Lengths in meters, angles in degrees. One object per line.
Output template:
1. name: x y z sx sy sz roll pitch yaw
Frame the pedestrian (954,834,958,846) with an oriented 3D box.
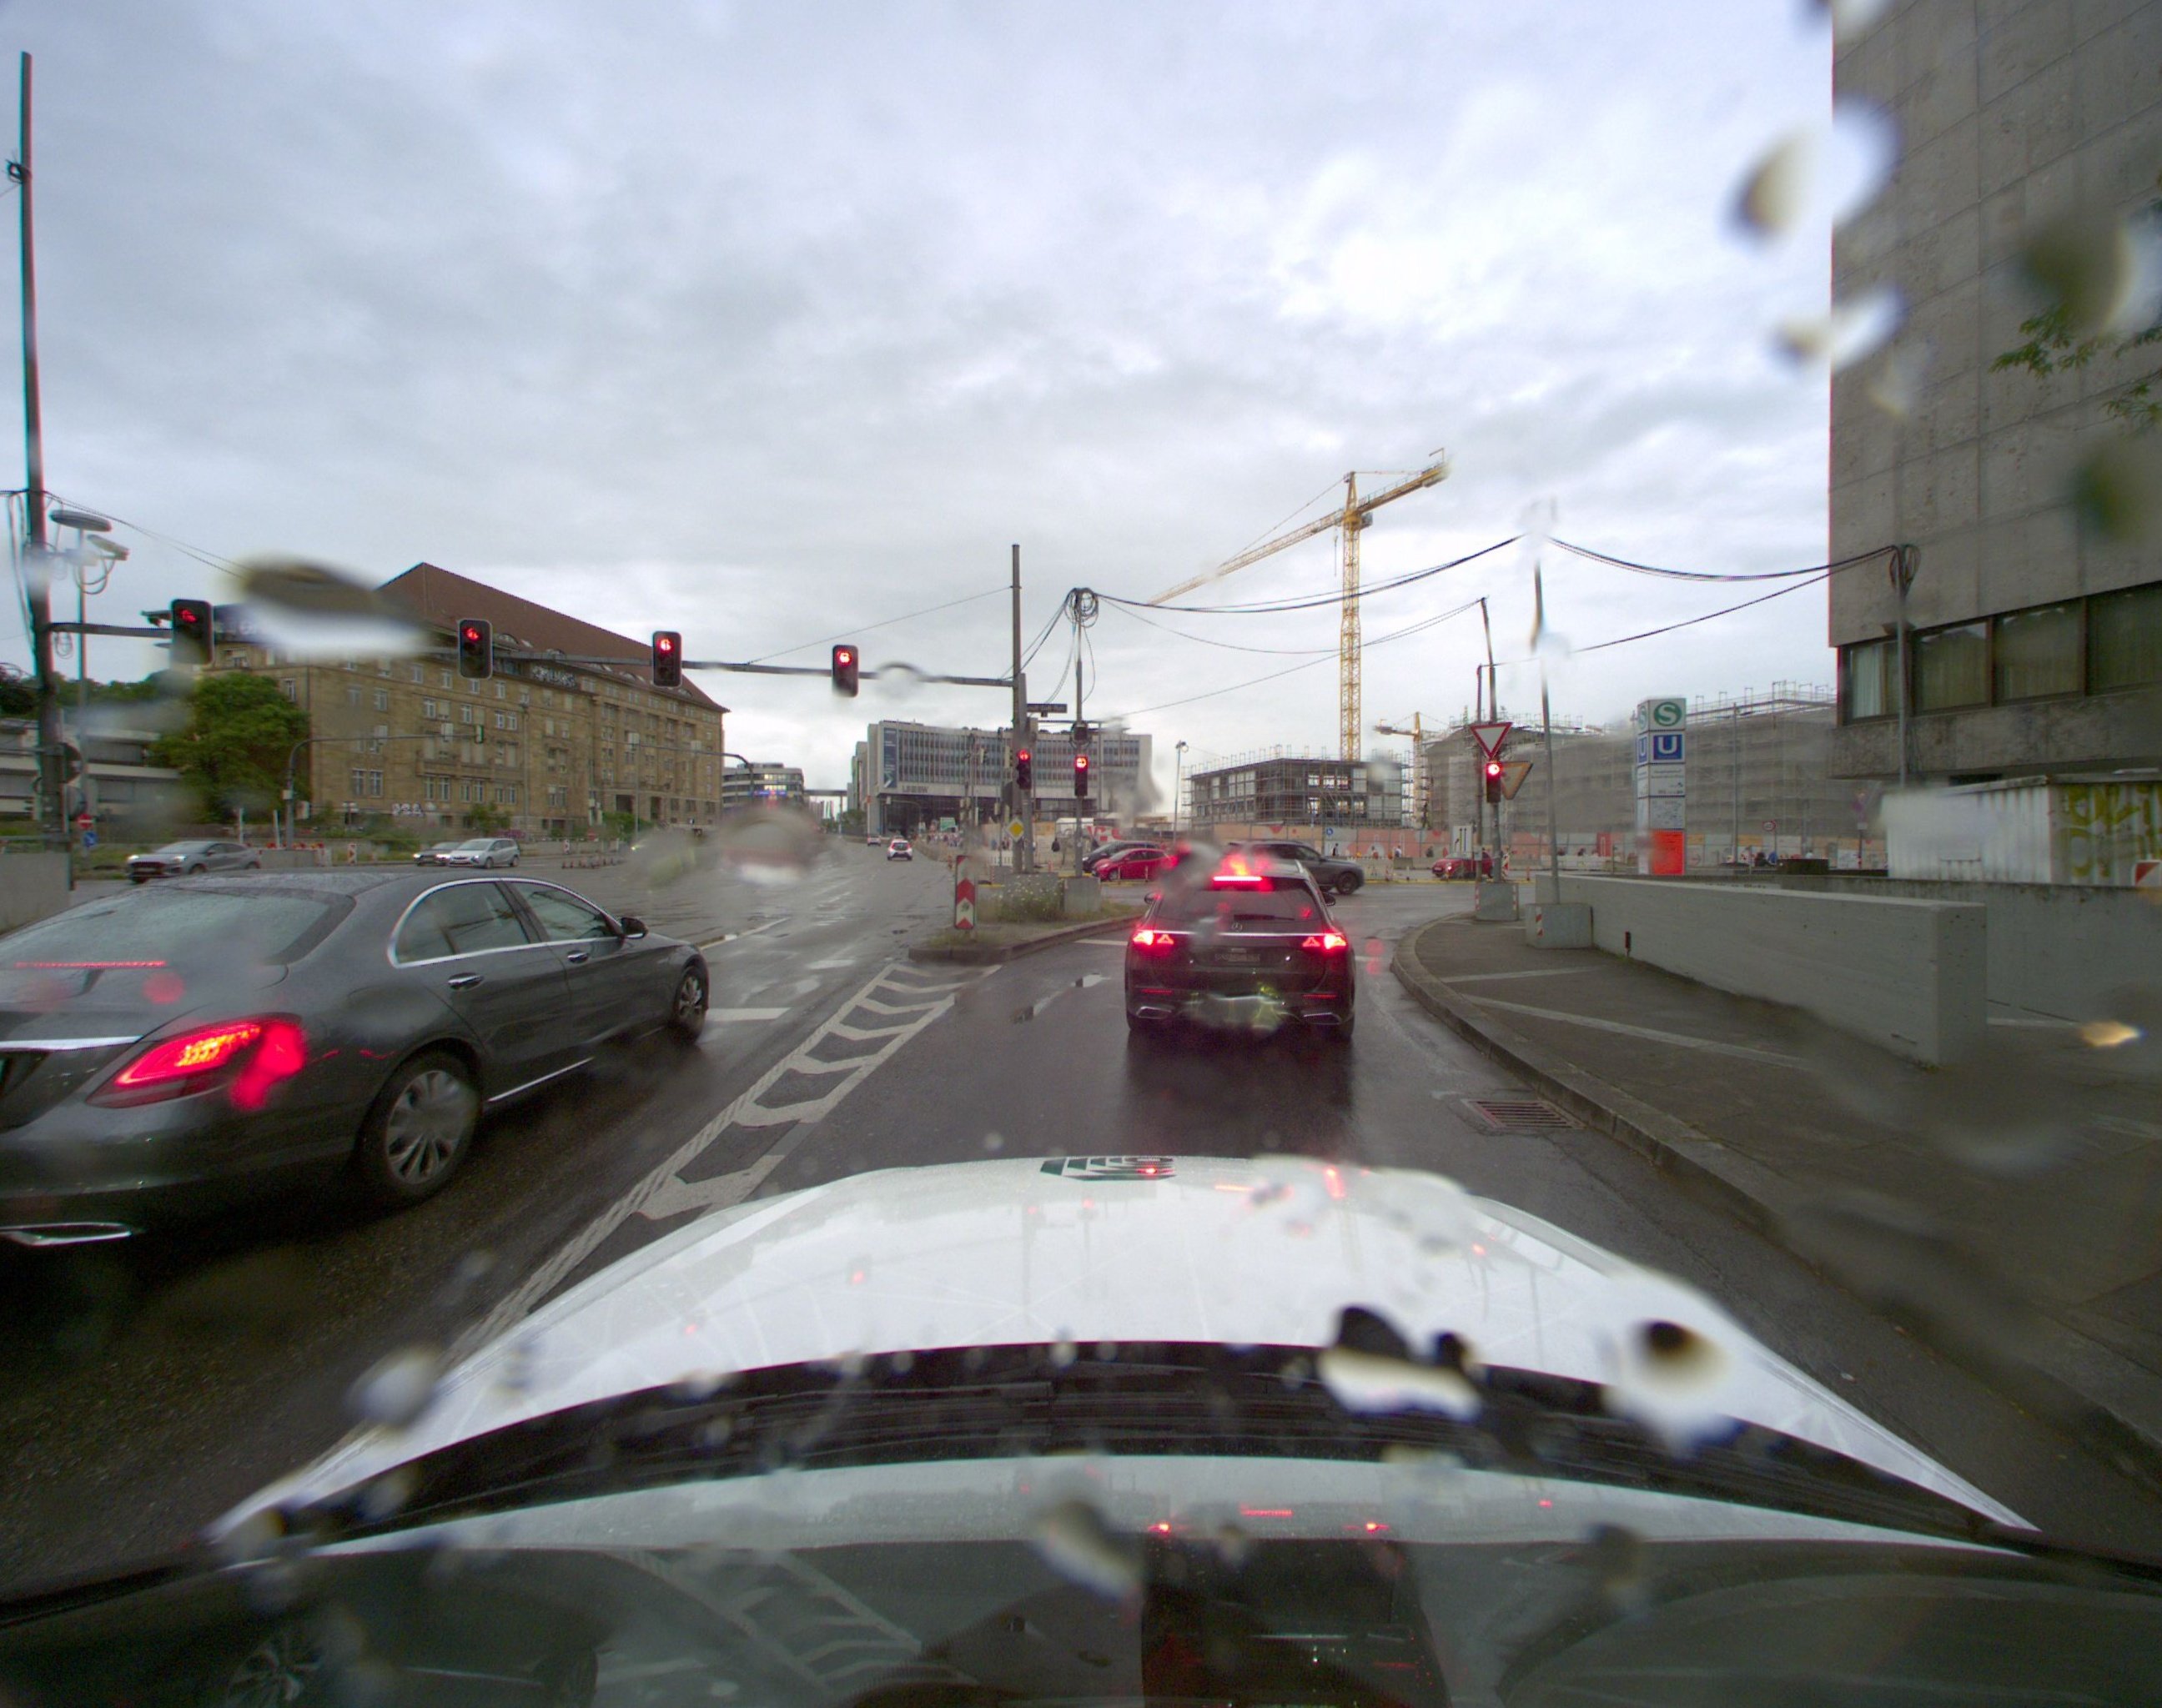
1. pedestrian: -19.555 -2.191 127.828 0.520 1.898 0.573 1 -1 -16

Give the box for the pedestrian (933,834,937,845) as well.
1. pedestrian: -25.588 -2.473 142.519 0.520 1.898 0.573 1 -1 -16

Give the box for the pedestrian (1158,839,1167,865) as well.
1. pedestrian: 5.951 -0.139 59.477 0.572 1.898 0.362 1 -1 4

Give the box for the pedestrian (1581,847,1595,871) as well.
1. pedestrian: 40.270 0.424 64.639 0.798 1.898 0.563 1 -1 -13

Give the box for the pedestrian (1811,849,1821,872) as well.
1. pedestrian: 61.959 0.562 68.624 0.574 1.898 0.361 1 -1 -10

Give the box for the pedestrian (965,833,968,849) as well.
1. pedestrian: -14.057 -1.571 99.920 0.362 1.898 0.573 1 -1 -16

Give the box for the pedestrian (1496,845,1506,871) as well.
1. pedestrian: 31.191 0.312 60.484 0.574 1.898 0.361 1 -1 -10

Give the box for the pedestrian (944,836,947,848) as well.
1. pedestrian: -21.518 -1.865 129.736 0.362 1.898 0.573 1 -1 -16

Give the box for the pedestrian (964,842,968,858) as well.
1. pedestrian: -13.221 -0.467 93.977 0.362 1.898 0.573 1 -1 -16

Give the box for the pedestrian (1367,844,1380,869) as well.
1. pedestrian: 22.704 0.190 63.193 0.656 1.901 0.629 1 -1 -12

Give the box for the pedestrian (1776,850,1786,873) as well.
1. pedestrian: 59.387 0.642 69.048 0.574 1.898 0.361 1 -1 -10

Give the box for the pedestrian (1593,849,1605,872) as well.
1. pedestrian: 42.954 0.505 67.508 0.632 1.898 0.587 1 -1 -16

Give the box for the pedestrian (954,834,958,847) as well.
1. pedestrian: -17.437 -1.888 113.683 0.362 1.898 0.573 1 -1 -16

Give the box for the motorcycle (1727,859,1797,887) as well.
1. motorcycle: 28.562 0.783 34.176 2.122 1.108 0.853 1 -1 10

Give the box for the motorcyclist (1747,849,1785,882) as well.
1. motorcyclist: 28.710 0.496 34.153 0.939 1.358 0.852 1 -1 11

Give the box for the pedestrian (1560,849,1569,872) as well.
1. pedestrian: 39.284 0.516 66.165 0.575 1.898 0.360 1 -1 -14

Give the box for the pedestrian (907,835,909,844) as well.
1. pedestrian: -39.007 -3.324 183.832 0.361 1.898 0.574 1 -1 -13

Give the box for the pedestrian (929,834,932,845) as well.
1. pedestrian: -26.265 -2.488 142.105 0.362 1.898 0.573 1 -1 -16

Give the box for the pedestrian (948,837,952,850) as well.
1. pedestrian: -19.775 -1.554 123.221 0.520 1.898 0.573 1 -1 -16

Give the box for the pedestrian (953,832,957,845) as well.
1. pedestrian: -17.866 -2.194 115.530 0.362 1.898 0.573 1 -1 -16

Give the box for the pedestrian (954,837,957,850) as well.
1. pedestrian: -19.073 -1.582 124.160 0.362 1.898 0.573 1 -1 -16

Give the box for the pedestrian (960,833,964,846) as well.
1. pedestrian: -18.335 -2.214 125.111 0.520 1.898 0.573 1 -1 -16

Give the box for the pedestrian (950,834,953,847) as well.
1. pedestrian: -18.844 -1.924 118.444 0.362 1.898 0.573 1 -1 -16

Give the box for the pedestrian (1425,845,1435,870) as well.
1. pedestrian: 26.527 0.279 61.963 0.574 1.898 0.361 1 -1 -10

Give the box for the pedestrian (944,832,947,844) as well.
1. pedestrian: -22.033 -2.573 132.409 0.520 1.898 0.573 1 -1 -16

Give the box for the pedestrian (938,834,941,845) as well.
1. pedestrian: -24.239 -2.463 139.703 0.362 1.898 0.573 1 -1 -16

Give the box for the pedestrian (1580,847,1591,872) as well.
1. pedestrian: 38.768 0.446 62.574 0.574 1.898 0.361 1 -1 -10

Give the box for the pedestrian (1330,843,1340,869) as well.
1. pedestrian: 18.648 0.131 59.750 0.574 1.898 0.361 1 -1 -10

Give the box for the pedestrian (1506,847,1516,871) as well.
1. pedestrian: 34.274 0.421 64.888 0.574 1.898 0.361 1 -1 -10

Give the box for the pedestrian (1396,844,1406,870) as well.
1. pedestrian: 24.084 0.236 61.352 0.574 1.898 0.361 1 -1 -10

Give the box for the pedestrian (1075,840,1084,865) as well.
1. pedestrian: -0.102 -0.106 60.742 0.570 1.898 0.364 0 -1 15
